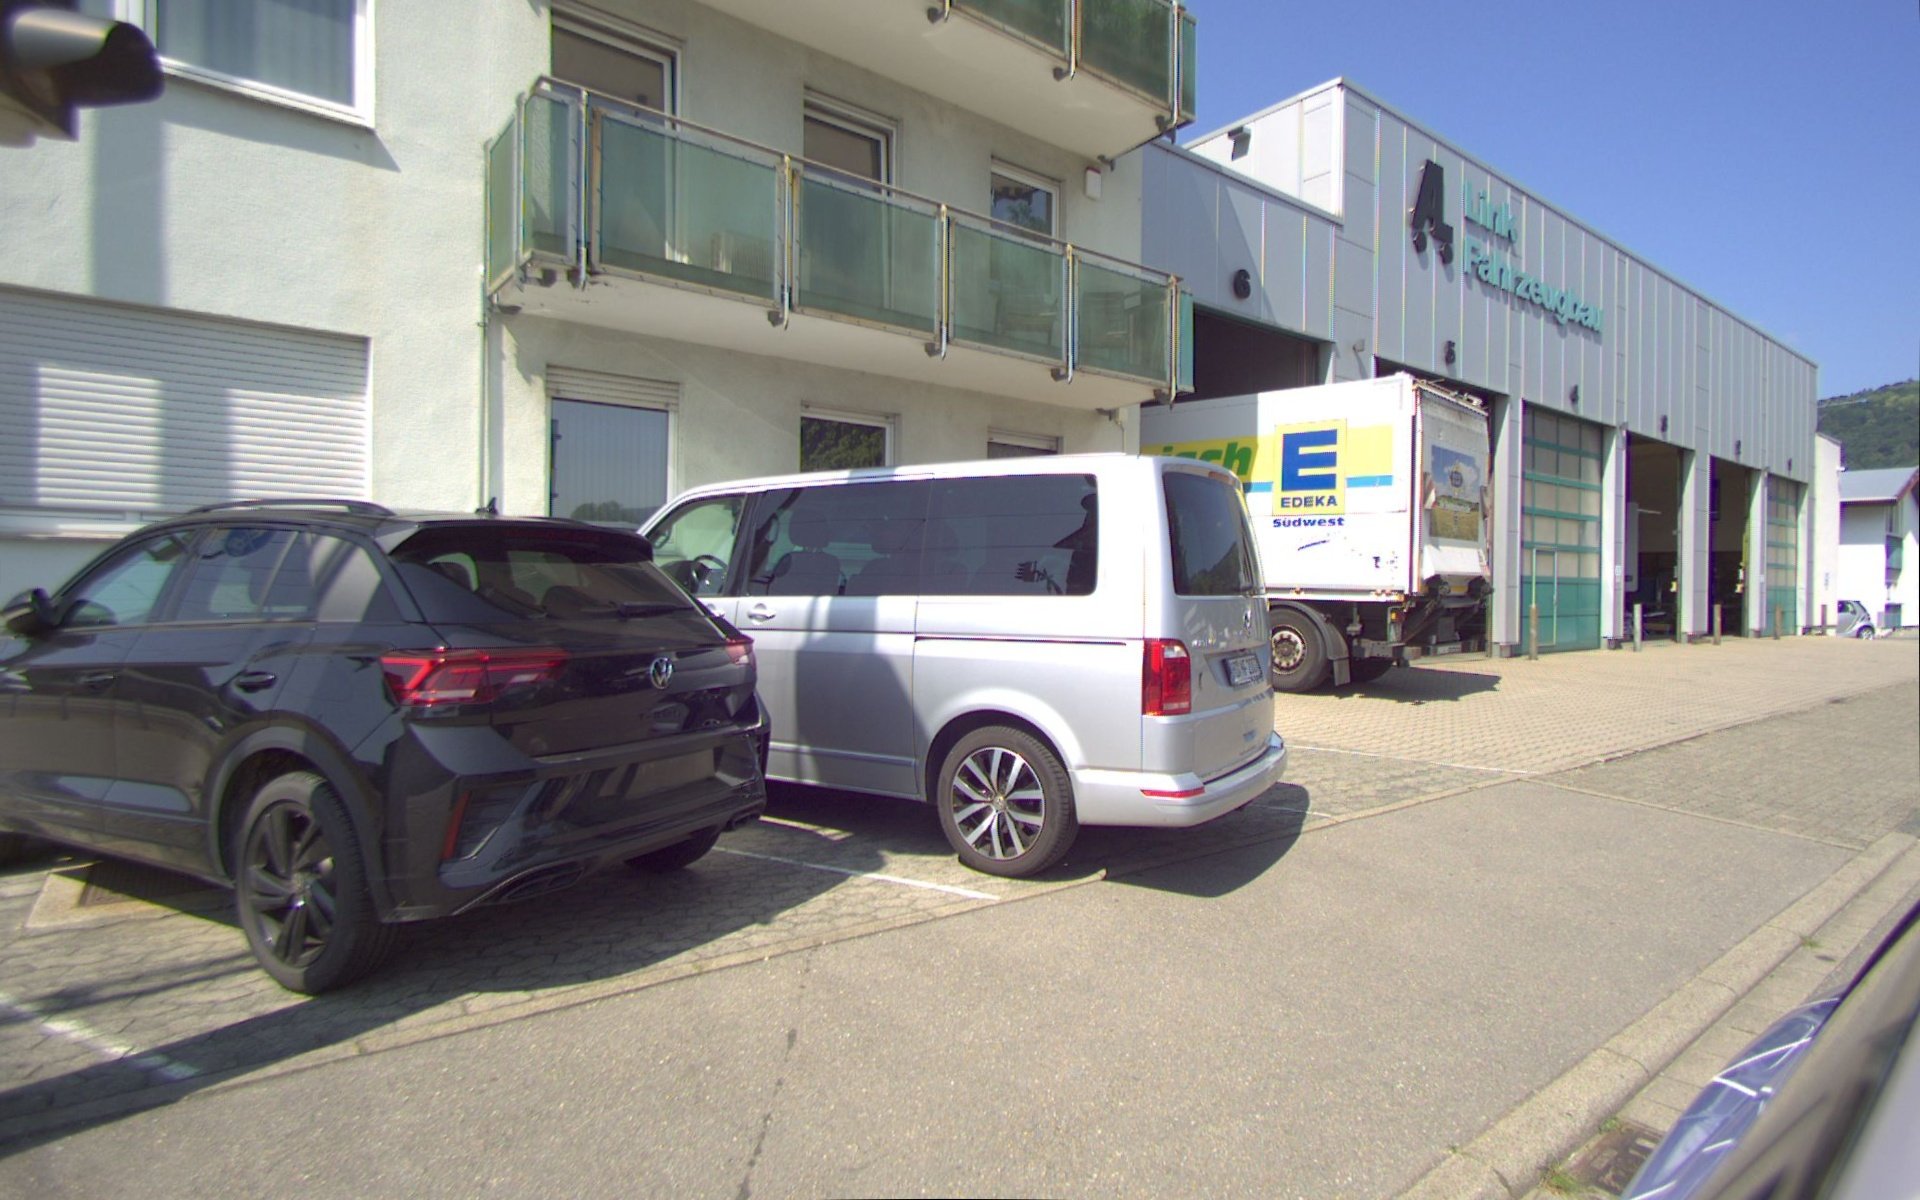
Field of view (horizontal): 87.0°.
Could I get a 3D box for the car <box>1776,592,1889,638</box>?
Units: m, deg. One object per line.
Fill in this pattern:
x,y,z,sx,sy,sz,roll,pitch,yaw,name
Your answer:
31.052,0.520,36.056,2.773,1.553,1.311,1,-1,5,car

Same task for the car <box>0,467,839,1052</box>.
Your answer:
-2.681,0.375,4.411,3.936,1.540,1.863,1,1,27,car

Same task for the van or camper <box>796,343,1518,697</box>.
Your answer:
1.941,-0.979,15.846,2.736,3.739,11.607,0,1,-44,van or camper

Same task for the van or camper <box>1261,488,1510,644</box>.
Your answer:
9.775,-0.739,23.615,1.965,3.246,5.053,-1,1,-40,van or camper

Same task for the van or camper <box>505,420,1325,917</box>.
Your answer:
-0.417,0.196,5.984,4.521,1.932,1.977,2,1,32,van or camper

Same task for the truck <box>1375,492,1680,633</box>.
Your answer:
17.283,-1.134,31.442,2.576,3.829,7.858,0,1,-37,truck
